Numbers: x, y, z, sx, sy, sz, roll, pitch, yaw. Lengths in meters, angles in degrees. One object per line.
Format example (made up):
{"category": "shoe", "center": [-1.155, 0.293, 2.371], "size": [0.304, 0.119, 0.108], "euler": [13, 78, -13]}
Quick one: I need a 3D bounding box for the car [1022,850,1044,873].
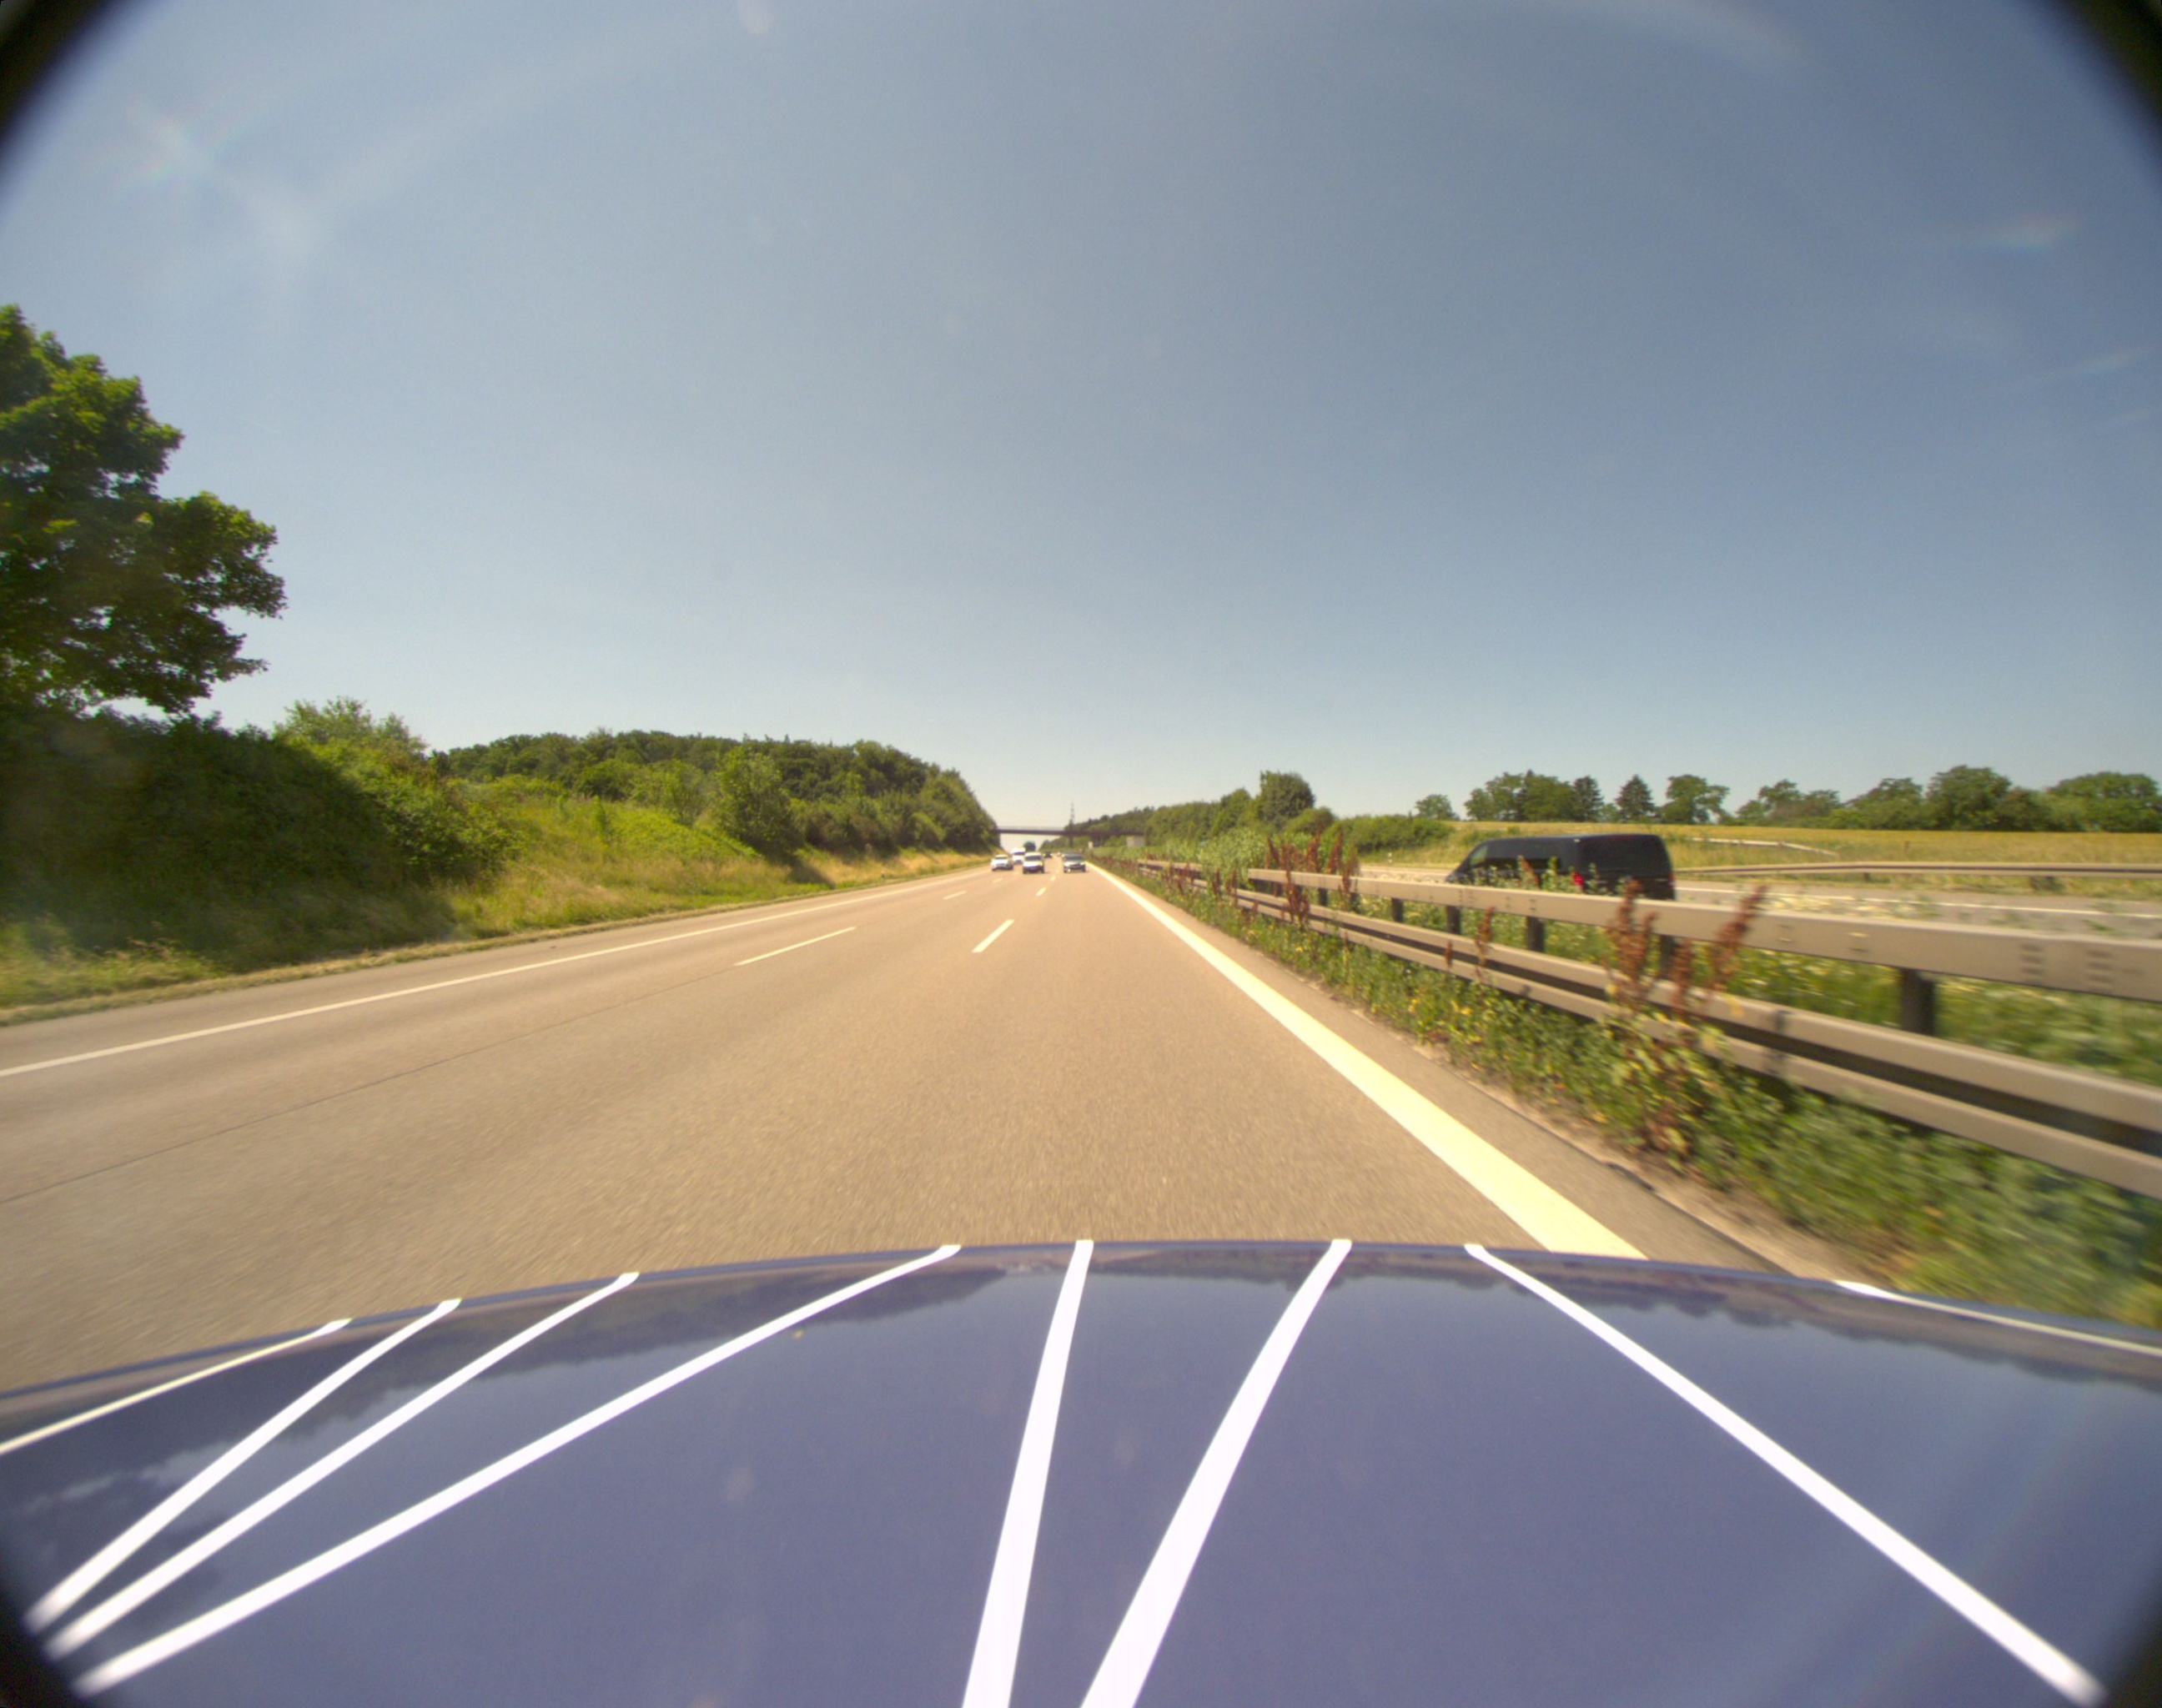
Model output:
{"category": "car", "center": [-4.102, 0.587, 65.729], "size": [1.750, 1.819, 4.799], "euler": [-2, 1, -3]}

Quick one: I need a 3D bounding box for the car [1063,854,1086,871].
{"category": "car", "center": [-0.577, 0.712, 64.344], "size": [1.768, 1.400, 3.998], "euler": [-2, 0, -3]}

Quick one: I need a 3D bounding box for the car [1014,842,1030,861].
{"category": "car", "center": [-8.774, -0.325, 113.471], "size": [2.095, 2.561, 6.619], "euler": [-2, 0, -4]}

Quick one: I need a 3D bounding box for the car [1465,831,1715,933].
{"category": "car", "center": [9.303, 0.464, 14.411], "size": [1.920, 1.579, 4.223], "euler": [-2, 0, 1]}

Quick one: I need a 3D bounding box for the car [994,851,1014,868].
{"category": "car", "center": [-8.190, 0.585, 81.218], "size": [1.786, 1.641, 4.402], "euler": [-2, 0, -1]}

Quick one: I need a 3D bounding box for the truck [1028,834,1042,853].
{"category": "truck", "center": [-9.979, -2.204, 163.018], "size": [2.517, 3.819, 4.889], "euler": [-2, 0, -7]}

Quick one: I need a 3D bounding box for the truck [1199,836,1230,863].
{"category": "truck", "center": [13.001, -0.410, 74.294], "size": [2.025, 2.472, 5.562], "euler": [-2, 1, 0]}

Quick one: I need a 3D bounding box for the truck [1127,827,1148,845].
{"category": "truck", "center": [13.424, -4.227, 182.015], "size": [2.983, 3.990, 16.821], "euler": [-2, 1, -2]}

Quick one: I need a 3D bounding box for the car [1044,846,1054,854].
{"category": "car", "center": [-6.810, -0.878, 160.914], "size": [1.789, 1.550, 3.941], "euler": [-2, 0, -8]}
